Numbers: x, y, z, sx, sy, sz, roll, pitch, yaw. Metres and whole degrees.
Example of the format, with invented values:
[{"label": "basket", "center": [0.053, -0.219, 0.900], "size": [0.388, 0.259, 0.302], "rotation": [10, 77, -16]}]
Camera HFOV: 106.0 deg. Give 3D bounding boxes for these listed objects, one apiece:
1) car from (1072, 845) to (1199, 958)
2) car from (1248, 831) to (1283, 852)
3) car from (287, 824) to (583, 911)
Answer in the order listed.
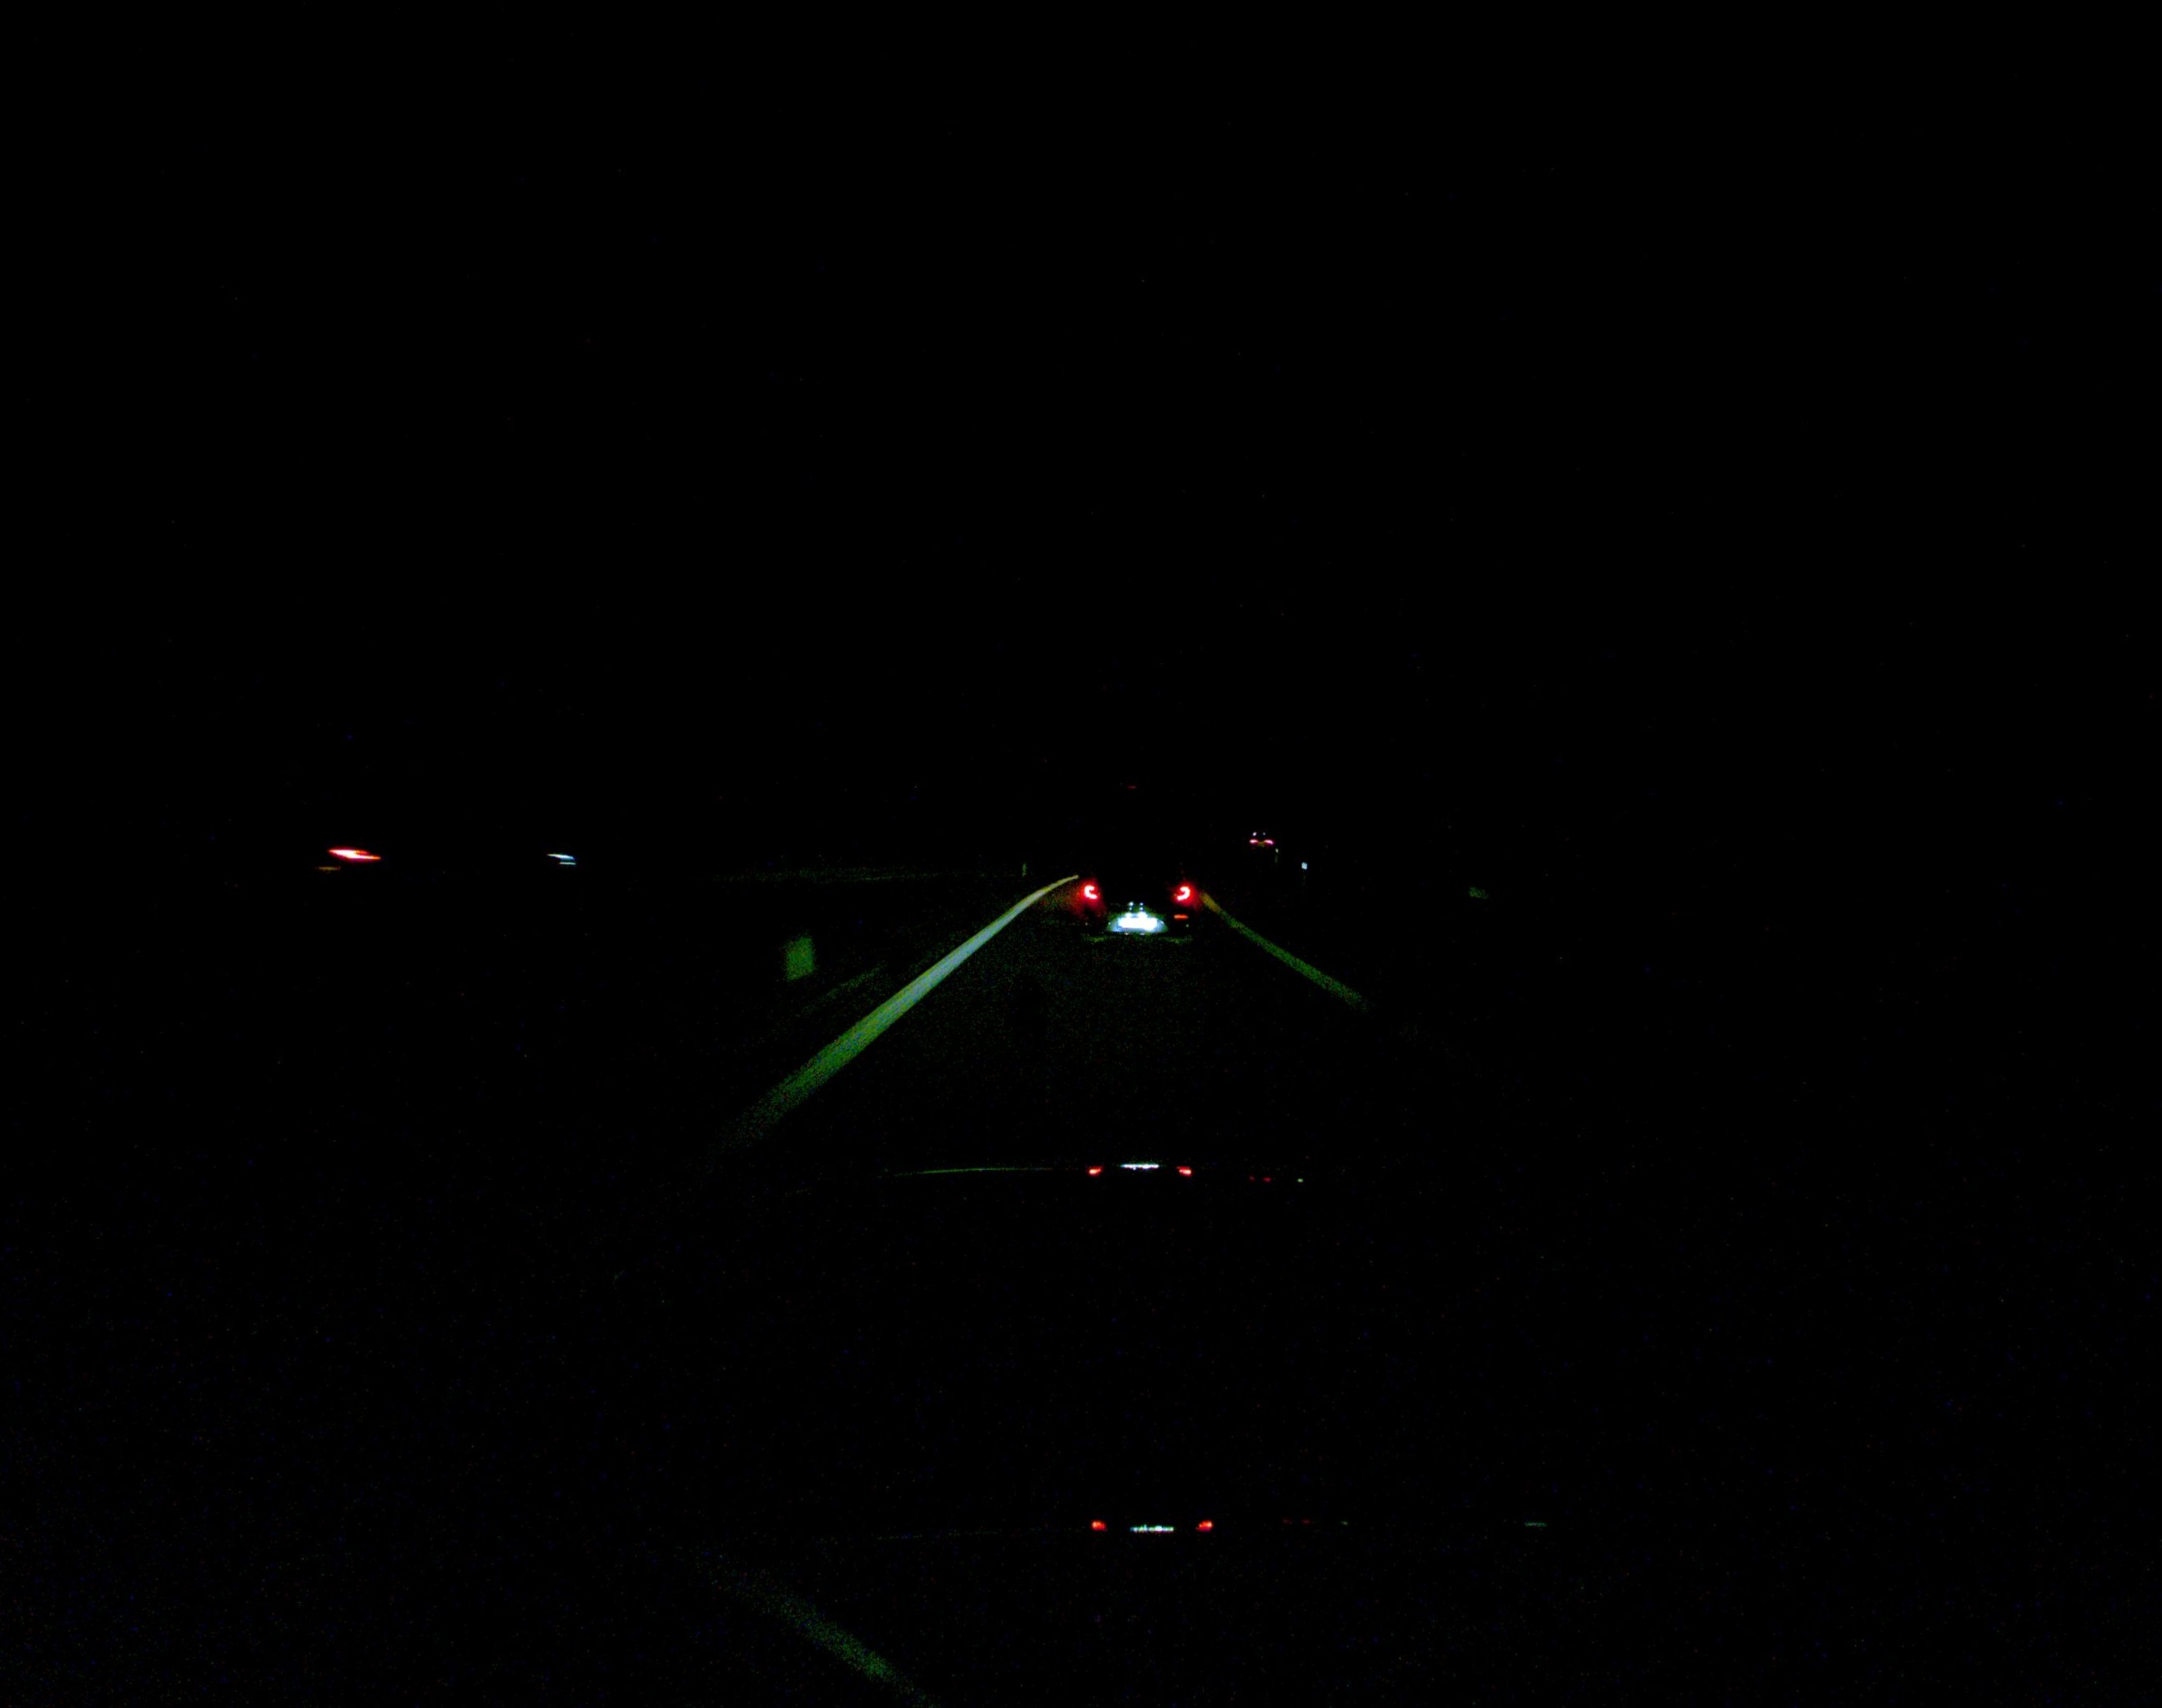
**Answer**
[{"label": "car", "center": [0.867, 0.625, 13.021], "size": [1.684, 1.477, 4.004], "rotation": [1, 1, 4]}, {"label": "car", "center": [15.008, -0.987, 66.209], "size": [1.934, 1.538, 4.265], "rotation": [-3, -1, 24]}, {"label": "car", "center": [-13.774, 0.182, 17.757], "size": [1.922, 1.608, 4.671], "rotation": [2, 2, 27]}]
